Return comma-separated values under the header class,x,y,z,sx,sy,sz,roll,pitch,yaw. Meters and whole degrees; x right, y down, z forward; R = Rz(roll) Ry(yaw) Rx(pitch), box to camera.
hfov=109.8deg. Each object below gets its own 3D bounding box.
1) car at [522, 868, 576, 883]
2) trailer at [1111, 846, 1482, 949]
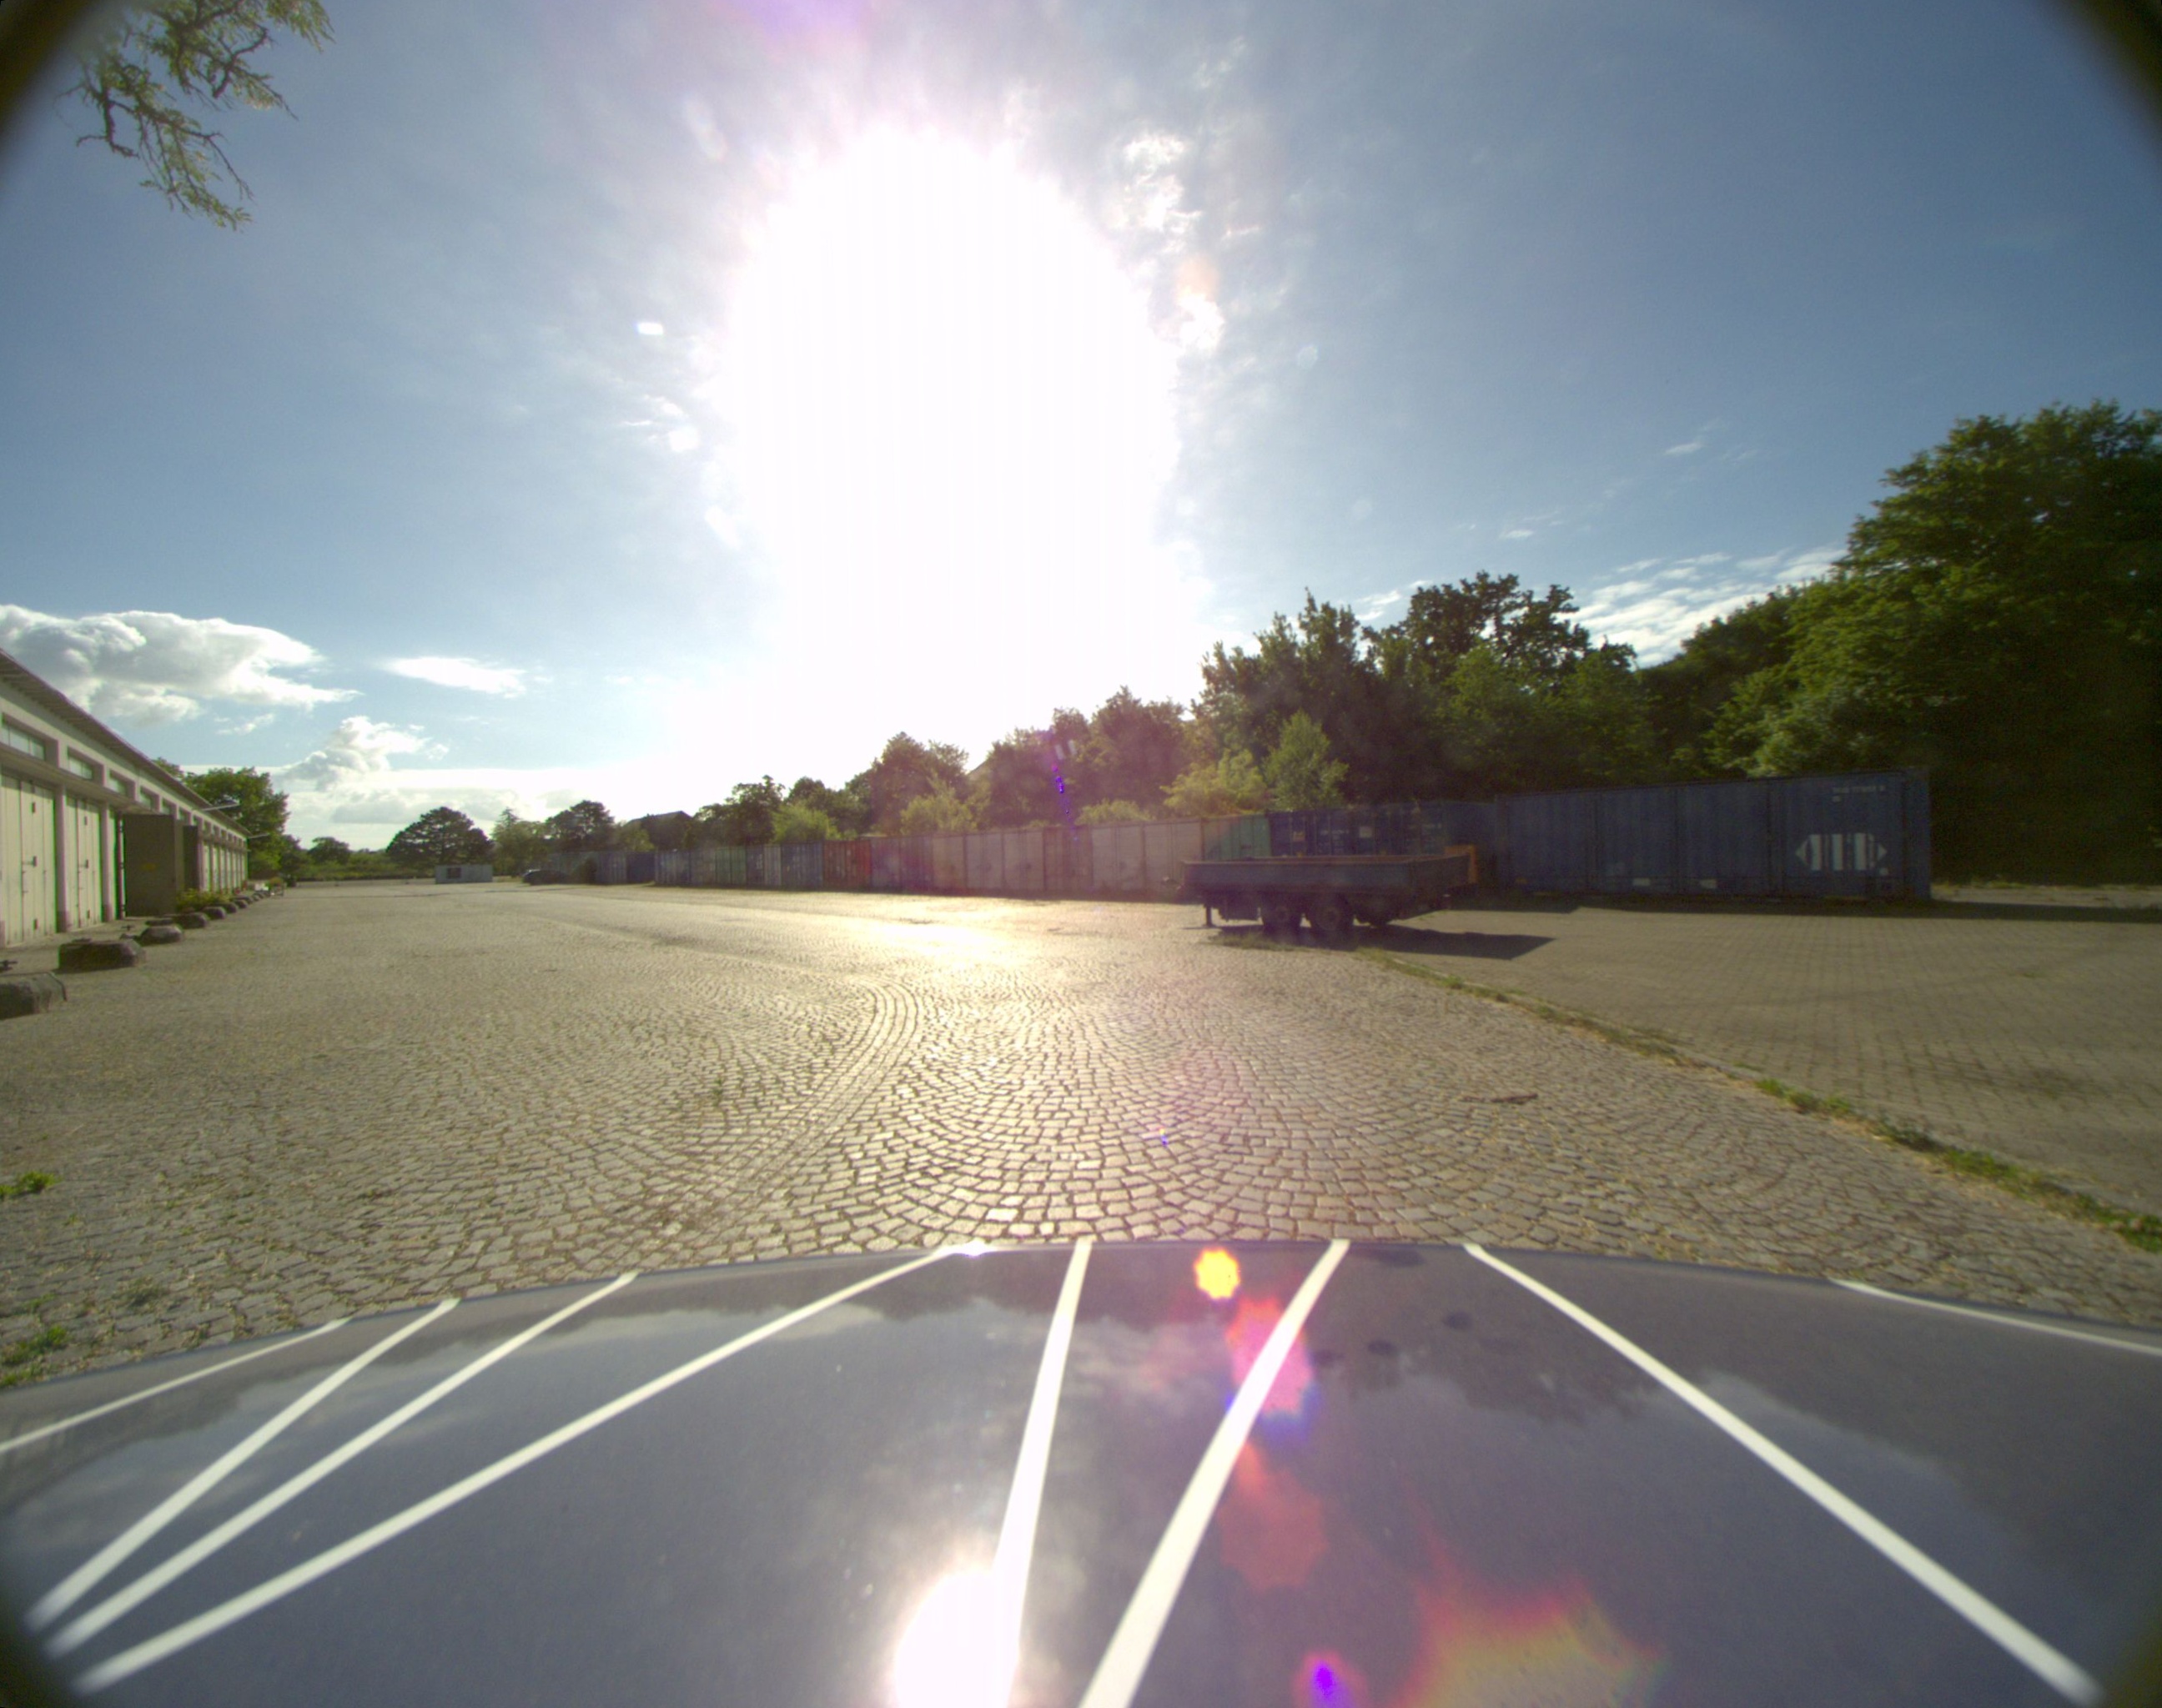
class,x,y,z,sx,sy,sz,roll,pitch,yaw
car,-50.795,2.073,72.610,1.586,1.259,3.885,-1,1,43
trailer,3.989,0.754,15.130,6.475,1.509,2.861,-2,1,45
